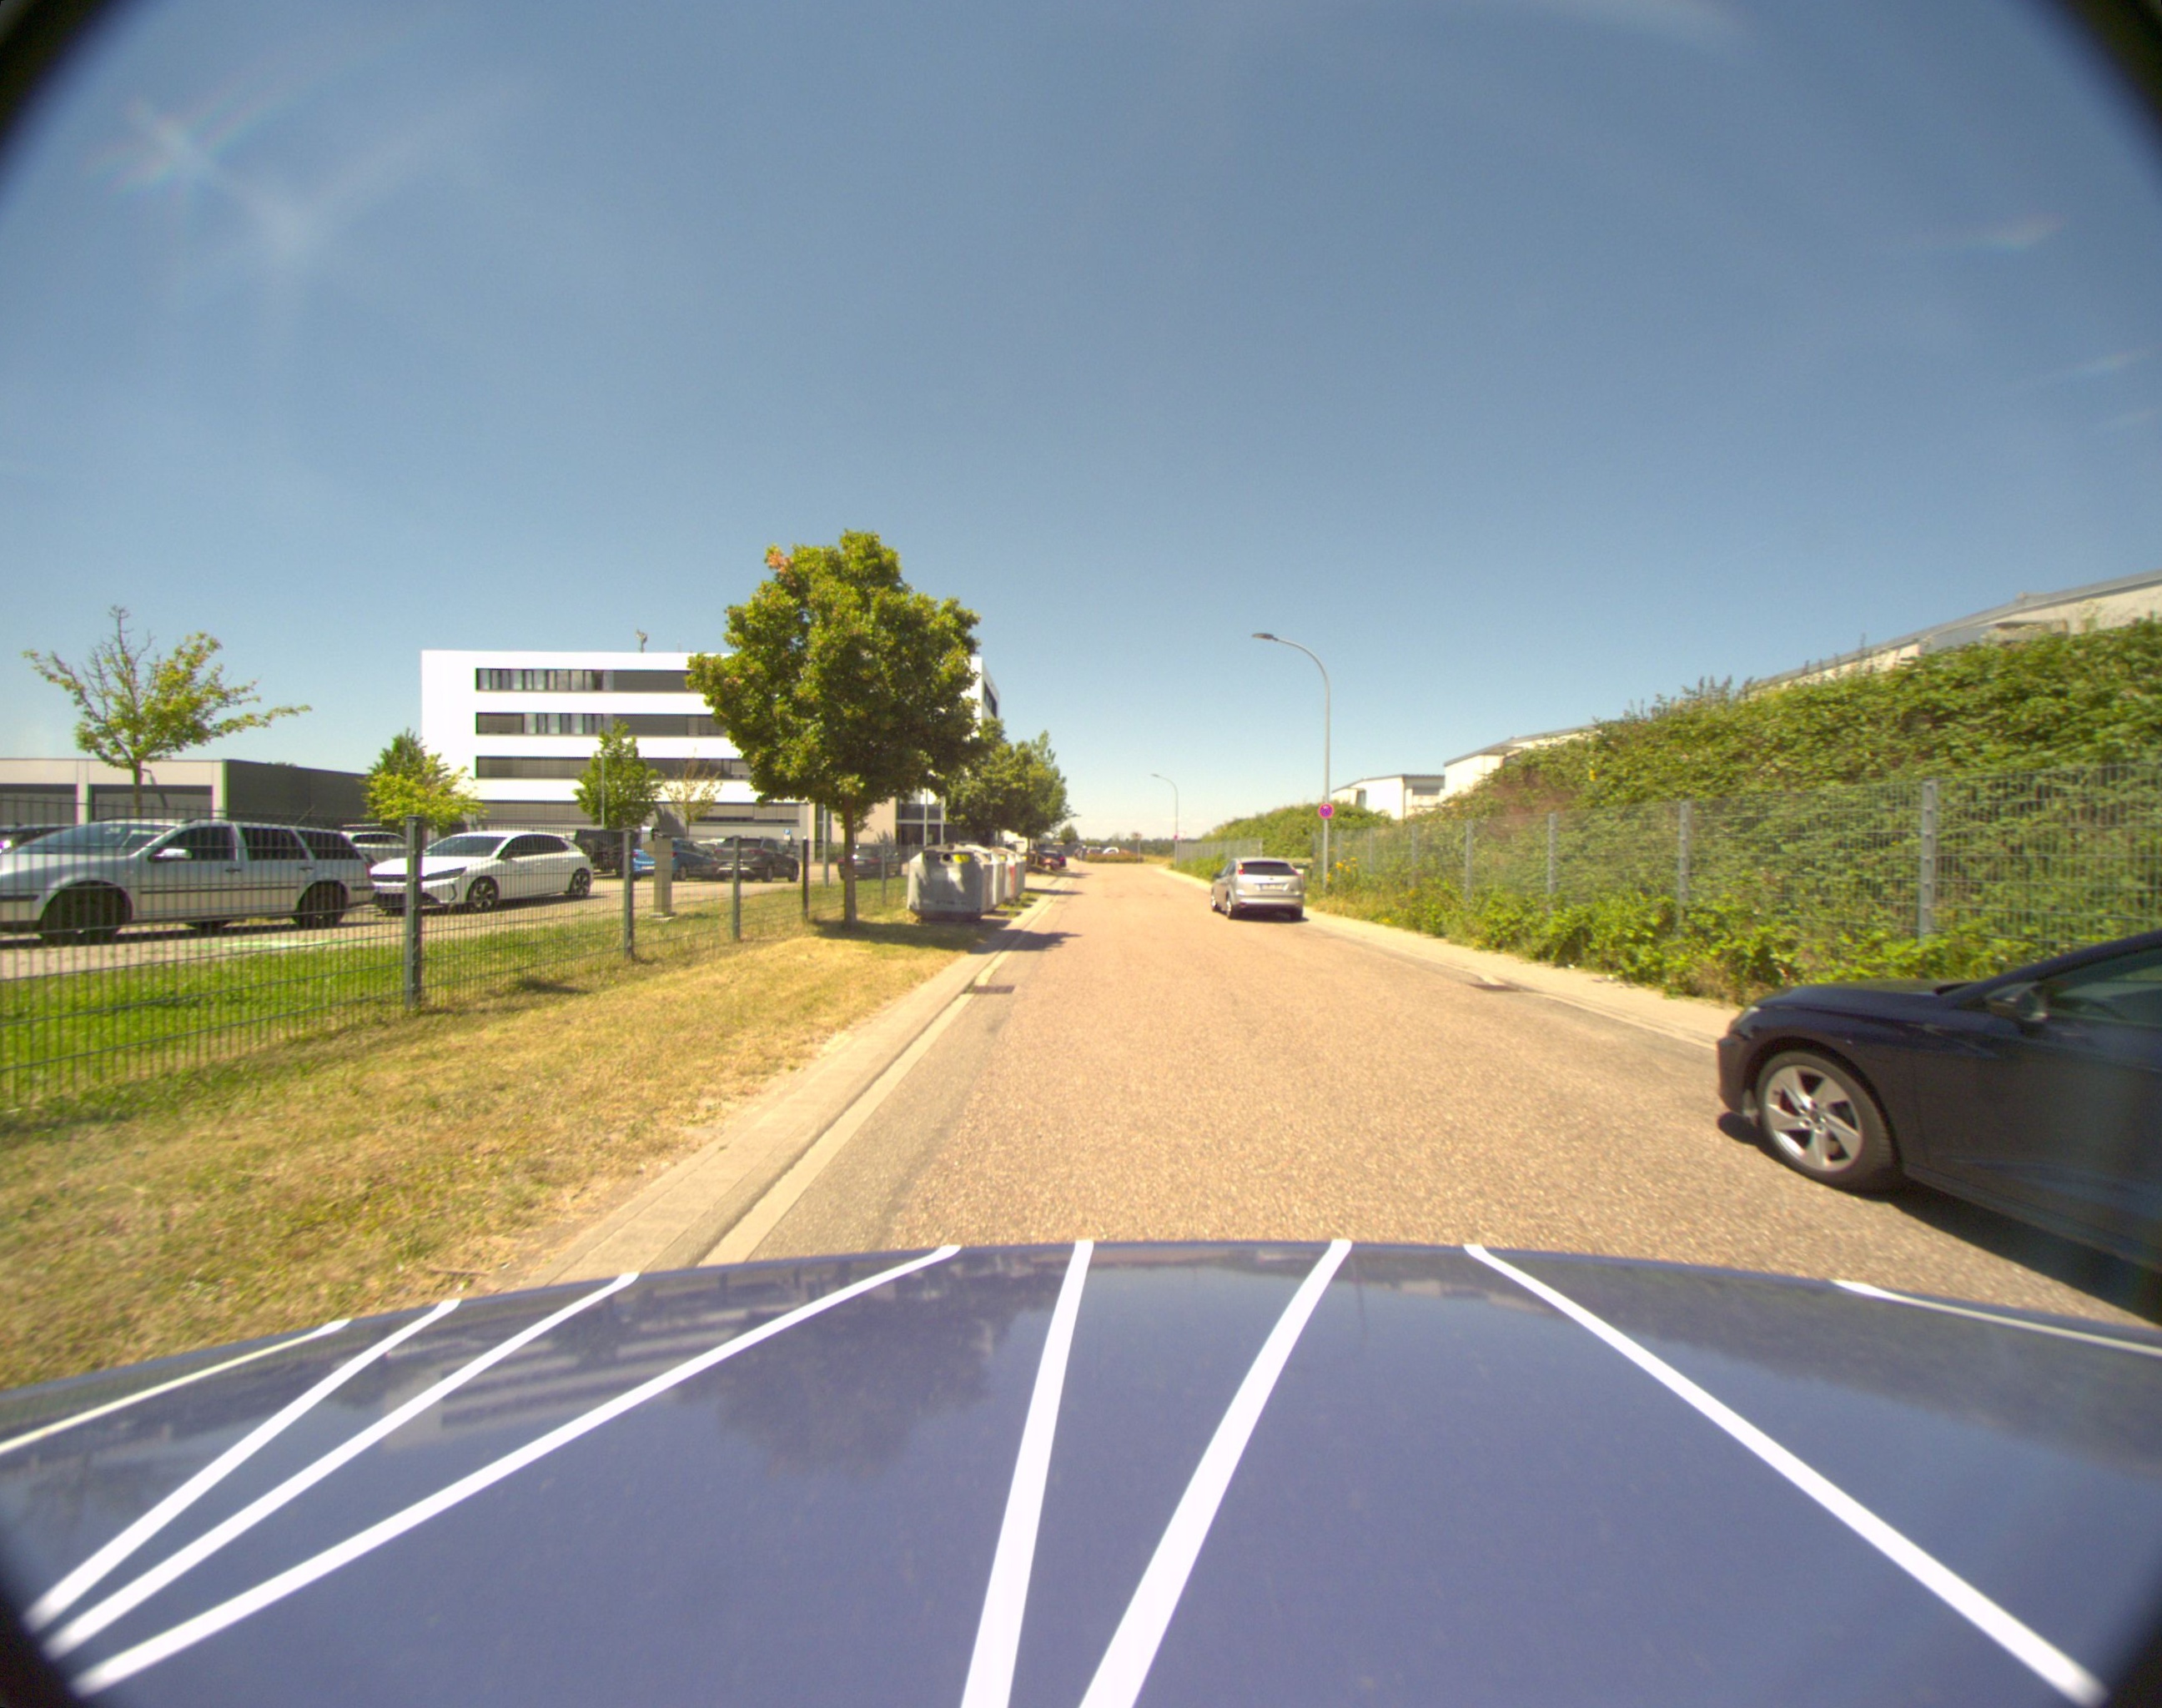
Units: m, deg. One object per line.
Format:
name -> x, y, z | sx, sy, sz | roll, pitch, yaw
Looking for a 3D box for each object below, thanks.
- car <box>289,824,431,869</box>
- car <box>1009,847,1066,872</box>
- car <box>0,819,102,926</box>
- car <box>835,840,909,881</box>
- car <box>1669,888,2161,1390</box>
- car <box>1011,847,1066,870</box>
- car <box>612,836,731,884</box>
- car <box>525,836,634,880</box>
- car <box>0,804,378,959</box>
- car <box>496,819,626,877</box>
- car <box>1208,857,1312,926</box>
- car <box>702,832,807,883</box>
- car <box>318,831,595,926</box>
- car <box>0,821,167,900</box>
car -> -28.631, -0.227, 30.364 | 1.831, 1.527, 3.927 | -2, -2, 3
car -> -3.107, 0.379, 55.319 | 3.997, 1.694, 1.890 | -2, 1, 0
car -> -15.933, 0.260, 9.649 | 1.853, 1.490, 3.925 | 0, 0, 2
car -> -8.329, 0.319, 30.672 | 1.831, 1.445, 3.927 | -2, -2, 1
car -> 4.296, 0.936, 2.120 | 1.940, 1.446, 4.281 | 1, 0, -1
car -> -3.226, 0.343, 58.069 | 3.997, 1.631, 1.890 | -2, 1, 0
car -> -13.734, 0.262, 25.758 | 1.831, 1.445, 3.927 | -2, -2, 1
car -> -20.866, 0.226, 31.809 | 1.831, 1.634, 3.928 | -2, -3, 3
car -> -11.375, 0.327, 9.161 | 1.854, 1.489, 4.290 | 0, -2, -1
car -> -18.626, -0.137, 27.437 | 1.831, 1.859, 3.927 | -2, -2, 3
car -> 4.390, 0.847, 19.241 | 1.853, 1.510, 3.948 | 1, 0, 3
car -> -10.981, 0.109, 25.881 | 1.831, 1.565, 3.925 | 1, 0, 1
car -> -11.437, 0.335, 14.354 | 1.853, 1.491, 3.924 | 0, 3, 2
car -> -21.371, 0.115, 14.995 | 1.853, 1.490, 3.925 | 0, 0, 2
